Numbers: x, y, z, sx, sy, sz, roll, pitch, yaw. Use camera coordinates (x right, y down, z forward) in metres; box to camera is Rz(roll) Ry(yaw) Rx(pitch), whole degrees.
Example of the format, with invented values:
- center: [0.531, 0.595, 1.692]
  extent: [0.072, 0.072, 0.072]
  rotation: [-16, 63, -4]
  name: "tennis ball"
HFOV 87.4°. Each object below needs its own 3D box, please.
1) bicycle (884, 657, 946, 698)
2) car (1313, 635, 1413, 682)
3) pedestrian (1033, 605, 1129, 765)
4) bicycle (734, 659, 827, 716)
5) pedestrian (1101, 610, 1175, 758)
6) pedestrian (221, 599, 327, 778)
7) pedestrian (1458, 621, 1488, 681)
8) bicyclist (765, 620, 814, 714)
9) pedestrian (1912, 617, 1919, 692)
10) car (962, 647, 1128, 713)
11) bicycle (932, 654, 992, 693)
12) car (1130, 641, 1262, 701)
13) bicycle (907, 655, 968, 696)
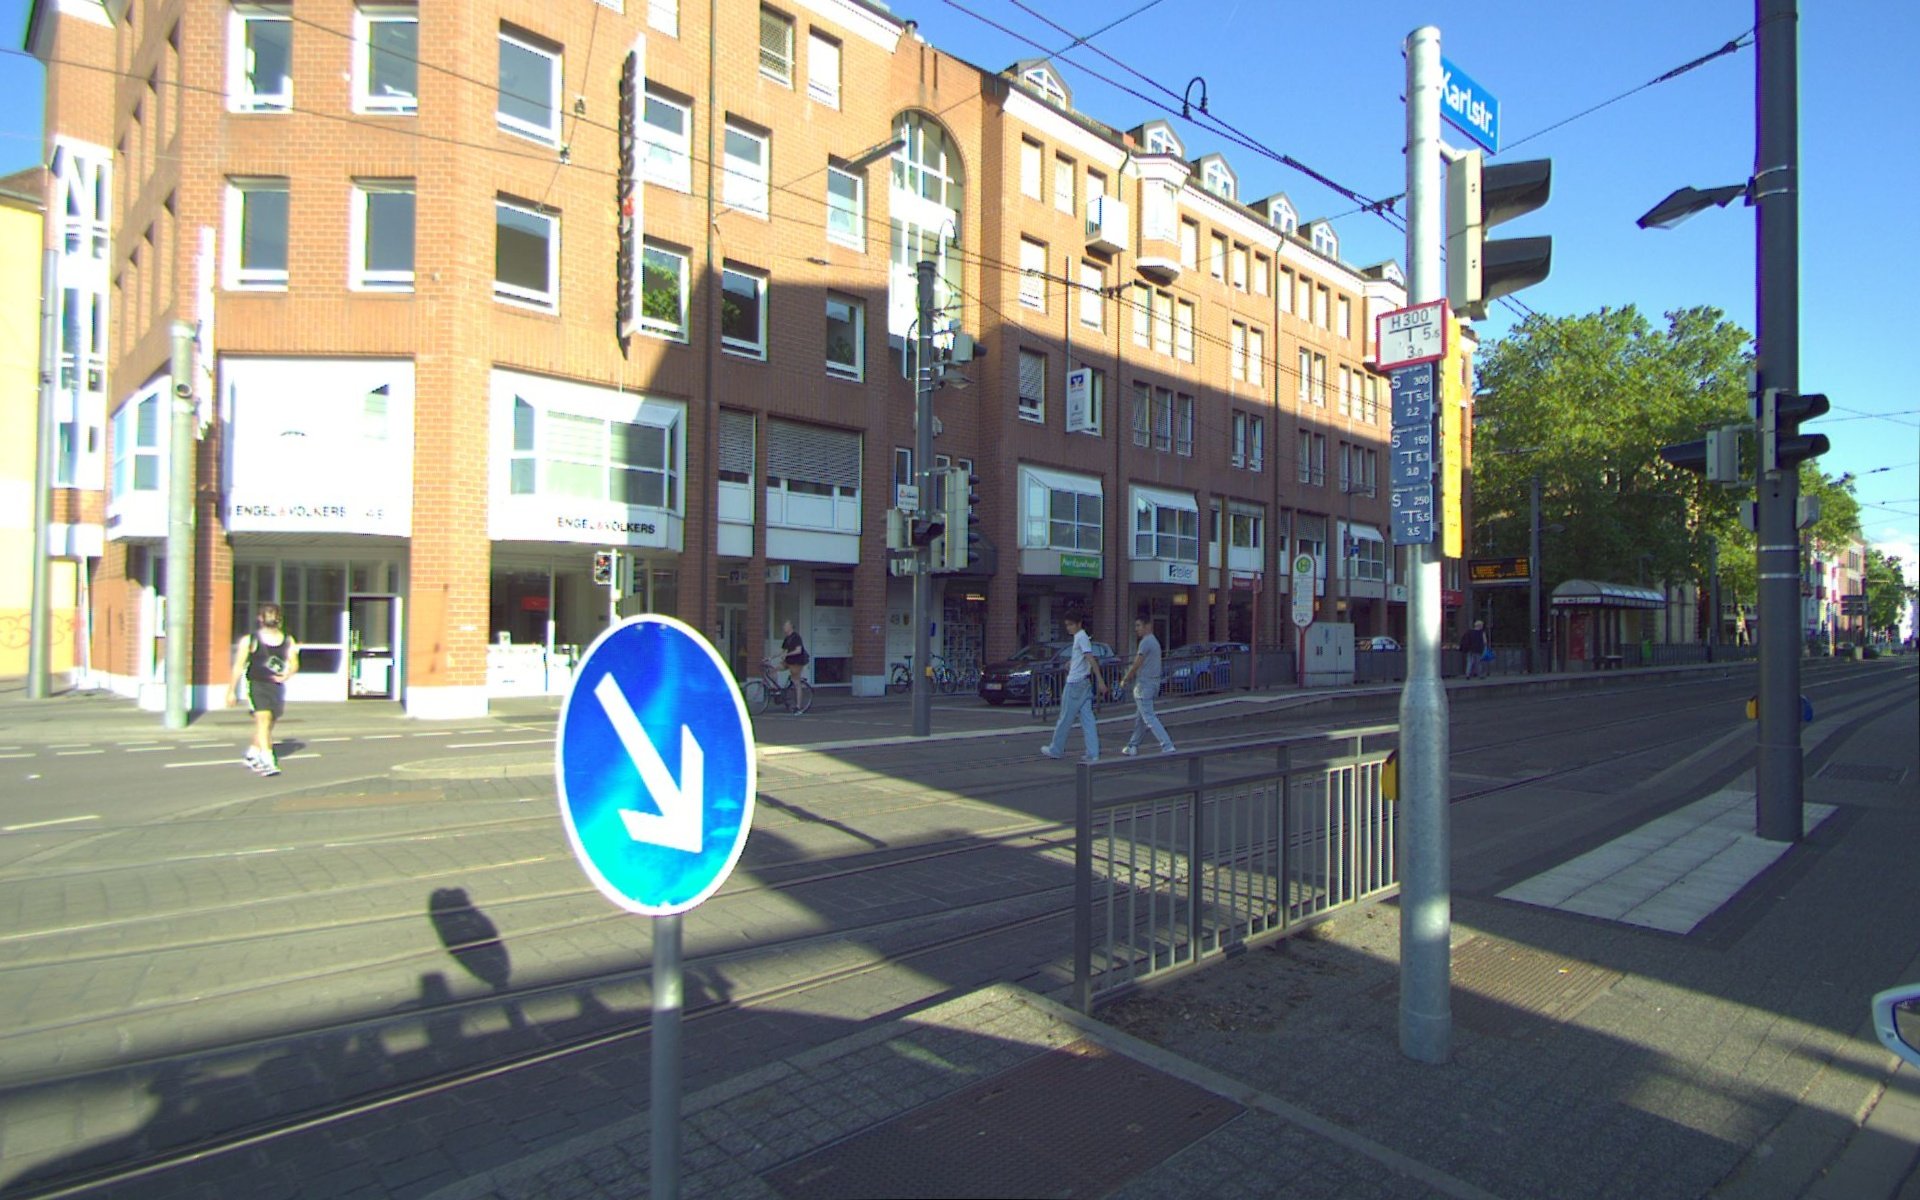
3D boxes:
- center: [-1.189, 1.989, 26.090]
  extent: [0.540, 0.974, 1.813]
  rotation: [-1, 0, -44]
  name: "bicycle"
- center: [14.212, 2.016, 35.331]
  extent: [3.907, 1.443, 1.729]
  rotation: [0, 0, -42]
  name: "car"
- center: [1.397, 0.950, 11.589]
  extent: [0.986, 1.788, 0.510]
  rotation: [0, 0, 23]
  name: "pedestrian"
- center: [-3.729, 1.803, 20.943]
  extent: [1.820, 1.062, 0.628]
  rotation: [0, 0, -38]
  name: "bicycle"
- center: [2.135, 0.982, 12.036]
  extent: [0.850, 1.717, 0.624]
  rotation: [0, 0, 11]
  name: "pedestrian"
- center: [-7.153, 0.885, 10.510]
  extent: [0.818, 1.781, 0.691]
  rotation: [0, 0, -27]
  name: "pedestrian"
- center: [13.843, 1.366, 27.112]
  extent: [0.678, 1.599, 0.621]
  rotation: [0, 0, 22]
  name: "pedestrian"
- center: [-3.571, 1.382, 21.071]
  extent: [0.803, 1.904, 0.628]
  rotation: [0, 0, -37]
  name: "bicyclist"
- center: [22.262, 1.240, 22.860]
  extent: [0.769, 1.682, 0.681]
  rotation: [0, 0, 37]
  name: "pedestrian"
- center: [2.068, 1.840, 23.891]
  extent: [3.906, 1.261, 1.730]
  rotation: [0, 0, -41]
  name: "car"
- center: [0.040, 1.988, 27.403]
  extent: [0.540, 0.974, 1.813]
  rotation: [0, 0, -44]
  name: "bicycle"
- center: [6.695, 1.933, 28.284]
  extent: [3.907, 1.443, 1.729]
  rotation: [0, 0, -42]
  name: "car"
- center: [-0.620, 1.987, 26.686]
  extent: [0.540, 0.974, 1.813]
  rotation: [0, 0, -44]
  name: "bicycle"
